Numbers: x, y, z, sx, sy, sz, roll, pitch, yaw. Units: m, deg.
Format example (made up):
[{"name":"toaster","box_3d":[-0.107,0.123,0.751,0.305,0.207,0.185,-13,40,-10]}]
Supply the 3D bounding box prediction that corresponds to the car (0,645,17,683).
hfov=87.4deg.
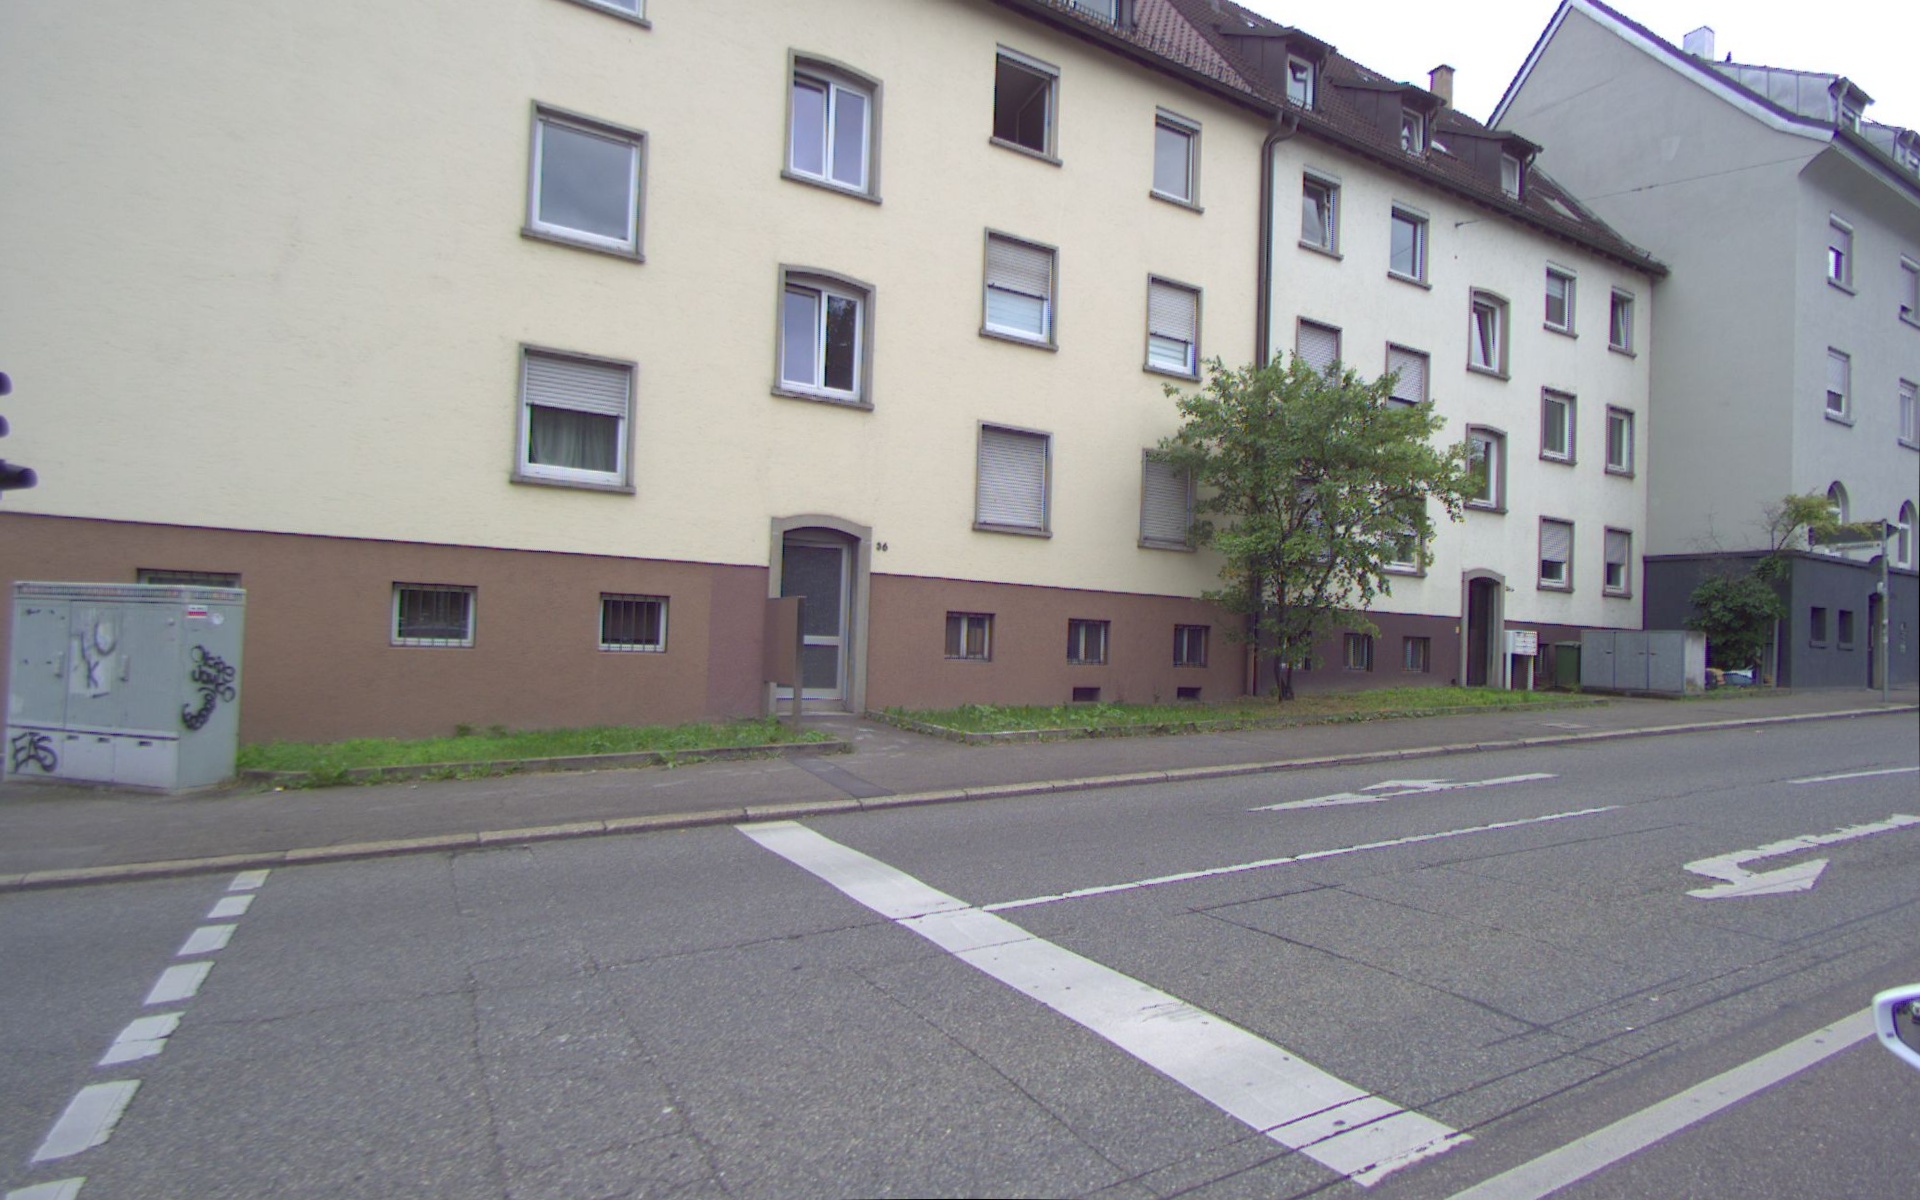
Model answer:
[{"name":"car","box_3d":[-42.439,2.783,43.076,1.976,1.606,3.970,1,-2,-29]}]

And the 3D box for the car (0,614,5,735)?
[{"name":"car","box_3d":[-15.436,1.077,12.956,4.217,1.782,1.981,-1,-2,-35]}]
